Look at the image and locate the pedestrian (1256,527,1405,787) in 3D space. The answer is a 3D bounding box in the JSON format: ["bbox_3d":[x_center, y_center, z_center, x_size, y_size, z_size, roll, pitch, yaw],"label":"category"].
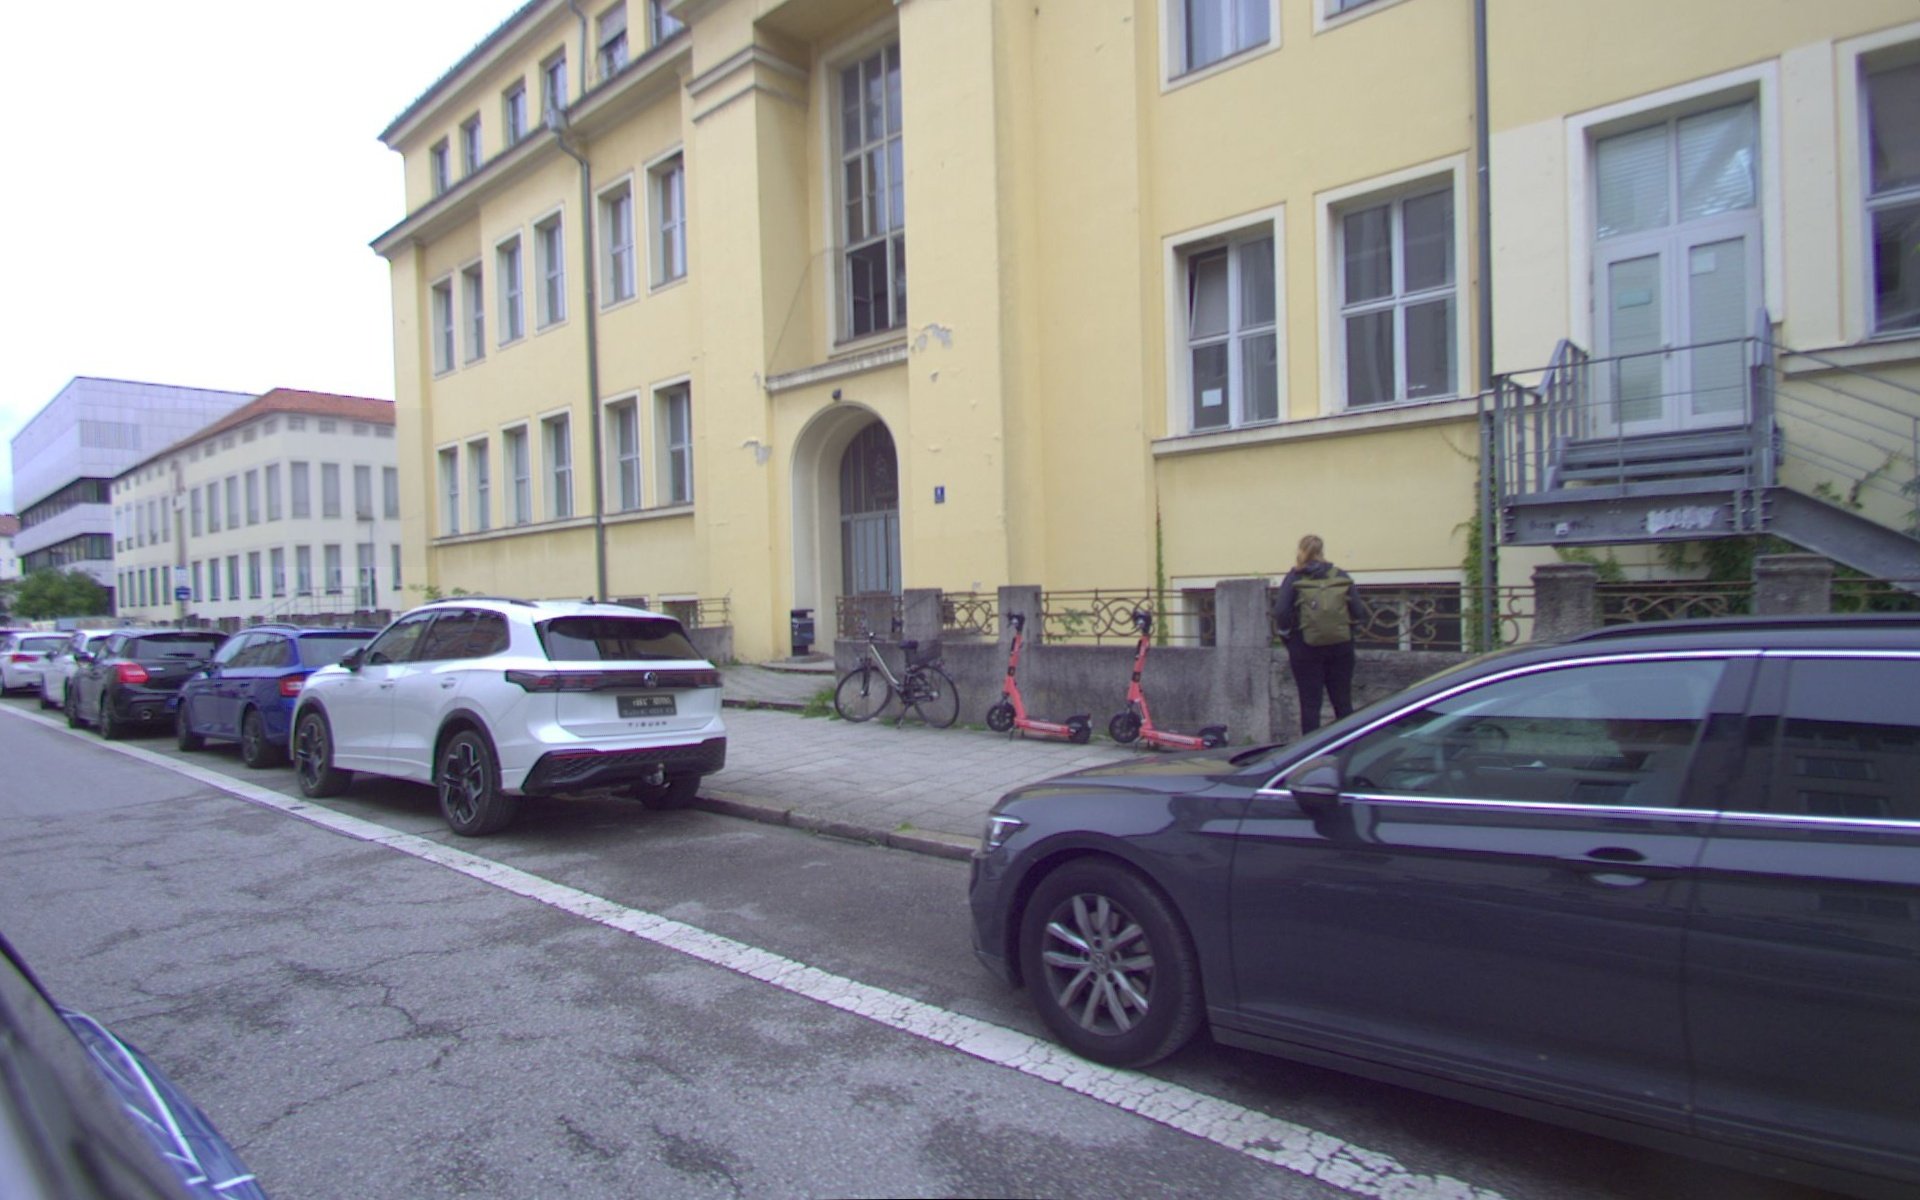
[{"bbox_3d":[2.817,0.403,7.699,0.782,1.838,0.766,-2,-1,44],"label":"pedestrian"}]

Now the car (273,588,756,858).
[{"bbox_3d":[-3.774,0.843,8.251,4.294,1.653,1.764,-2,-4,38],"label":"car"}]

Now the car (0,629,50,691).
[{"bbox_3d":[-25.676,1.555,26.829,4.207,1.566,1.751,-2,-3,41],"label":"car"}]

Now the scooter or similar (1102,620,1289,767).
[{"bbox_3d":[1.992,0.766,8.658,1.444,1.145,0.526,-3,-1,41],"label":"scooter or similar"}]

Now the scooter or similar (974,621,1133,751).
[{"bbox_3d":[0.869,0.795,9.664,1.444,1.145,0.526,-3,-1,41],"label":"scooter or similar"}]

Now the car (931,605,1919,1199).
[{"bbox_3d":[2.232,0.770,2.837,4.596,1.419,1.756,-2,-4,39],"label":"car"}]

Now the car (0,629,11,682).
[{"bbox_3d":[-29.878,1.666,30.369,3.945,1.529,1.652,-2,-1,41],"label":"car"}]

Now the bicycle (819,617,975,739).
[{"bbox_3d":[-0.709,0.802,10.939,1.765,1.197,0.577,-2,0,41],"label":"bicycle"}]

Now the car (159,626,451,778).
[{"bbox_3d":[-7.557,1.055,11.552,3.912,1.457,1.591,-2,-3,38],"label":"car"}]

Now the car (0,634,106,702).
[{"bbox_3d":[-21.197,1.500,23.230,4.017,1.408,1.793,-2,-3,41],"label":"car"}]

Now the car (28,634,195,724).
[{"bbox_3d":[-15.449,1.347,18.358,4.110,1.457,1.668,-2,-3,41],"label":"car"}]

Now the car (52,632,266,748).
[{"bbox_3d":[-11.663,1.208,14.660,3.777,1.450,1.716,-2,-3,41],"label":"car"}]
